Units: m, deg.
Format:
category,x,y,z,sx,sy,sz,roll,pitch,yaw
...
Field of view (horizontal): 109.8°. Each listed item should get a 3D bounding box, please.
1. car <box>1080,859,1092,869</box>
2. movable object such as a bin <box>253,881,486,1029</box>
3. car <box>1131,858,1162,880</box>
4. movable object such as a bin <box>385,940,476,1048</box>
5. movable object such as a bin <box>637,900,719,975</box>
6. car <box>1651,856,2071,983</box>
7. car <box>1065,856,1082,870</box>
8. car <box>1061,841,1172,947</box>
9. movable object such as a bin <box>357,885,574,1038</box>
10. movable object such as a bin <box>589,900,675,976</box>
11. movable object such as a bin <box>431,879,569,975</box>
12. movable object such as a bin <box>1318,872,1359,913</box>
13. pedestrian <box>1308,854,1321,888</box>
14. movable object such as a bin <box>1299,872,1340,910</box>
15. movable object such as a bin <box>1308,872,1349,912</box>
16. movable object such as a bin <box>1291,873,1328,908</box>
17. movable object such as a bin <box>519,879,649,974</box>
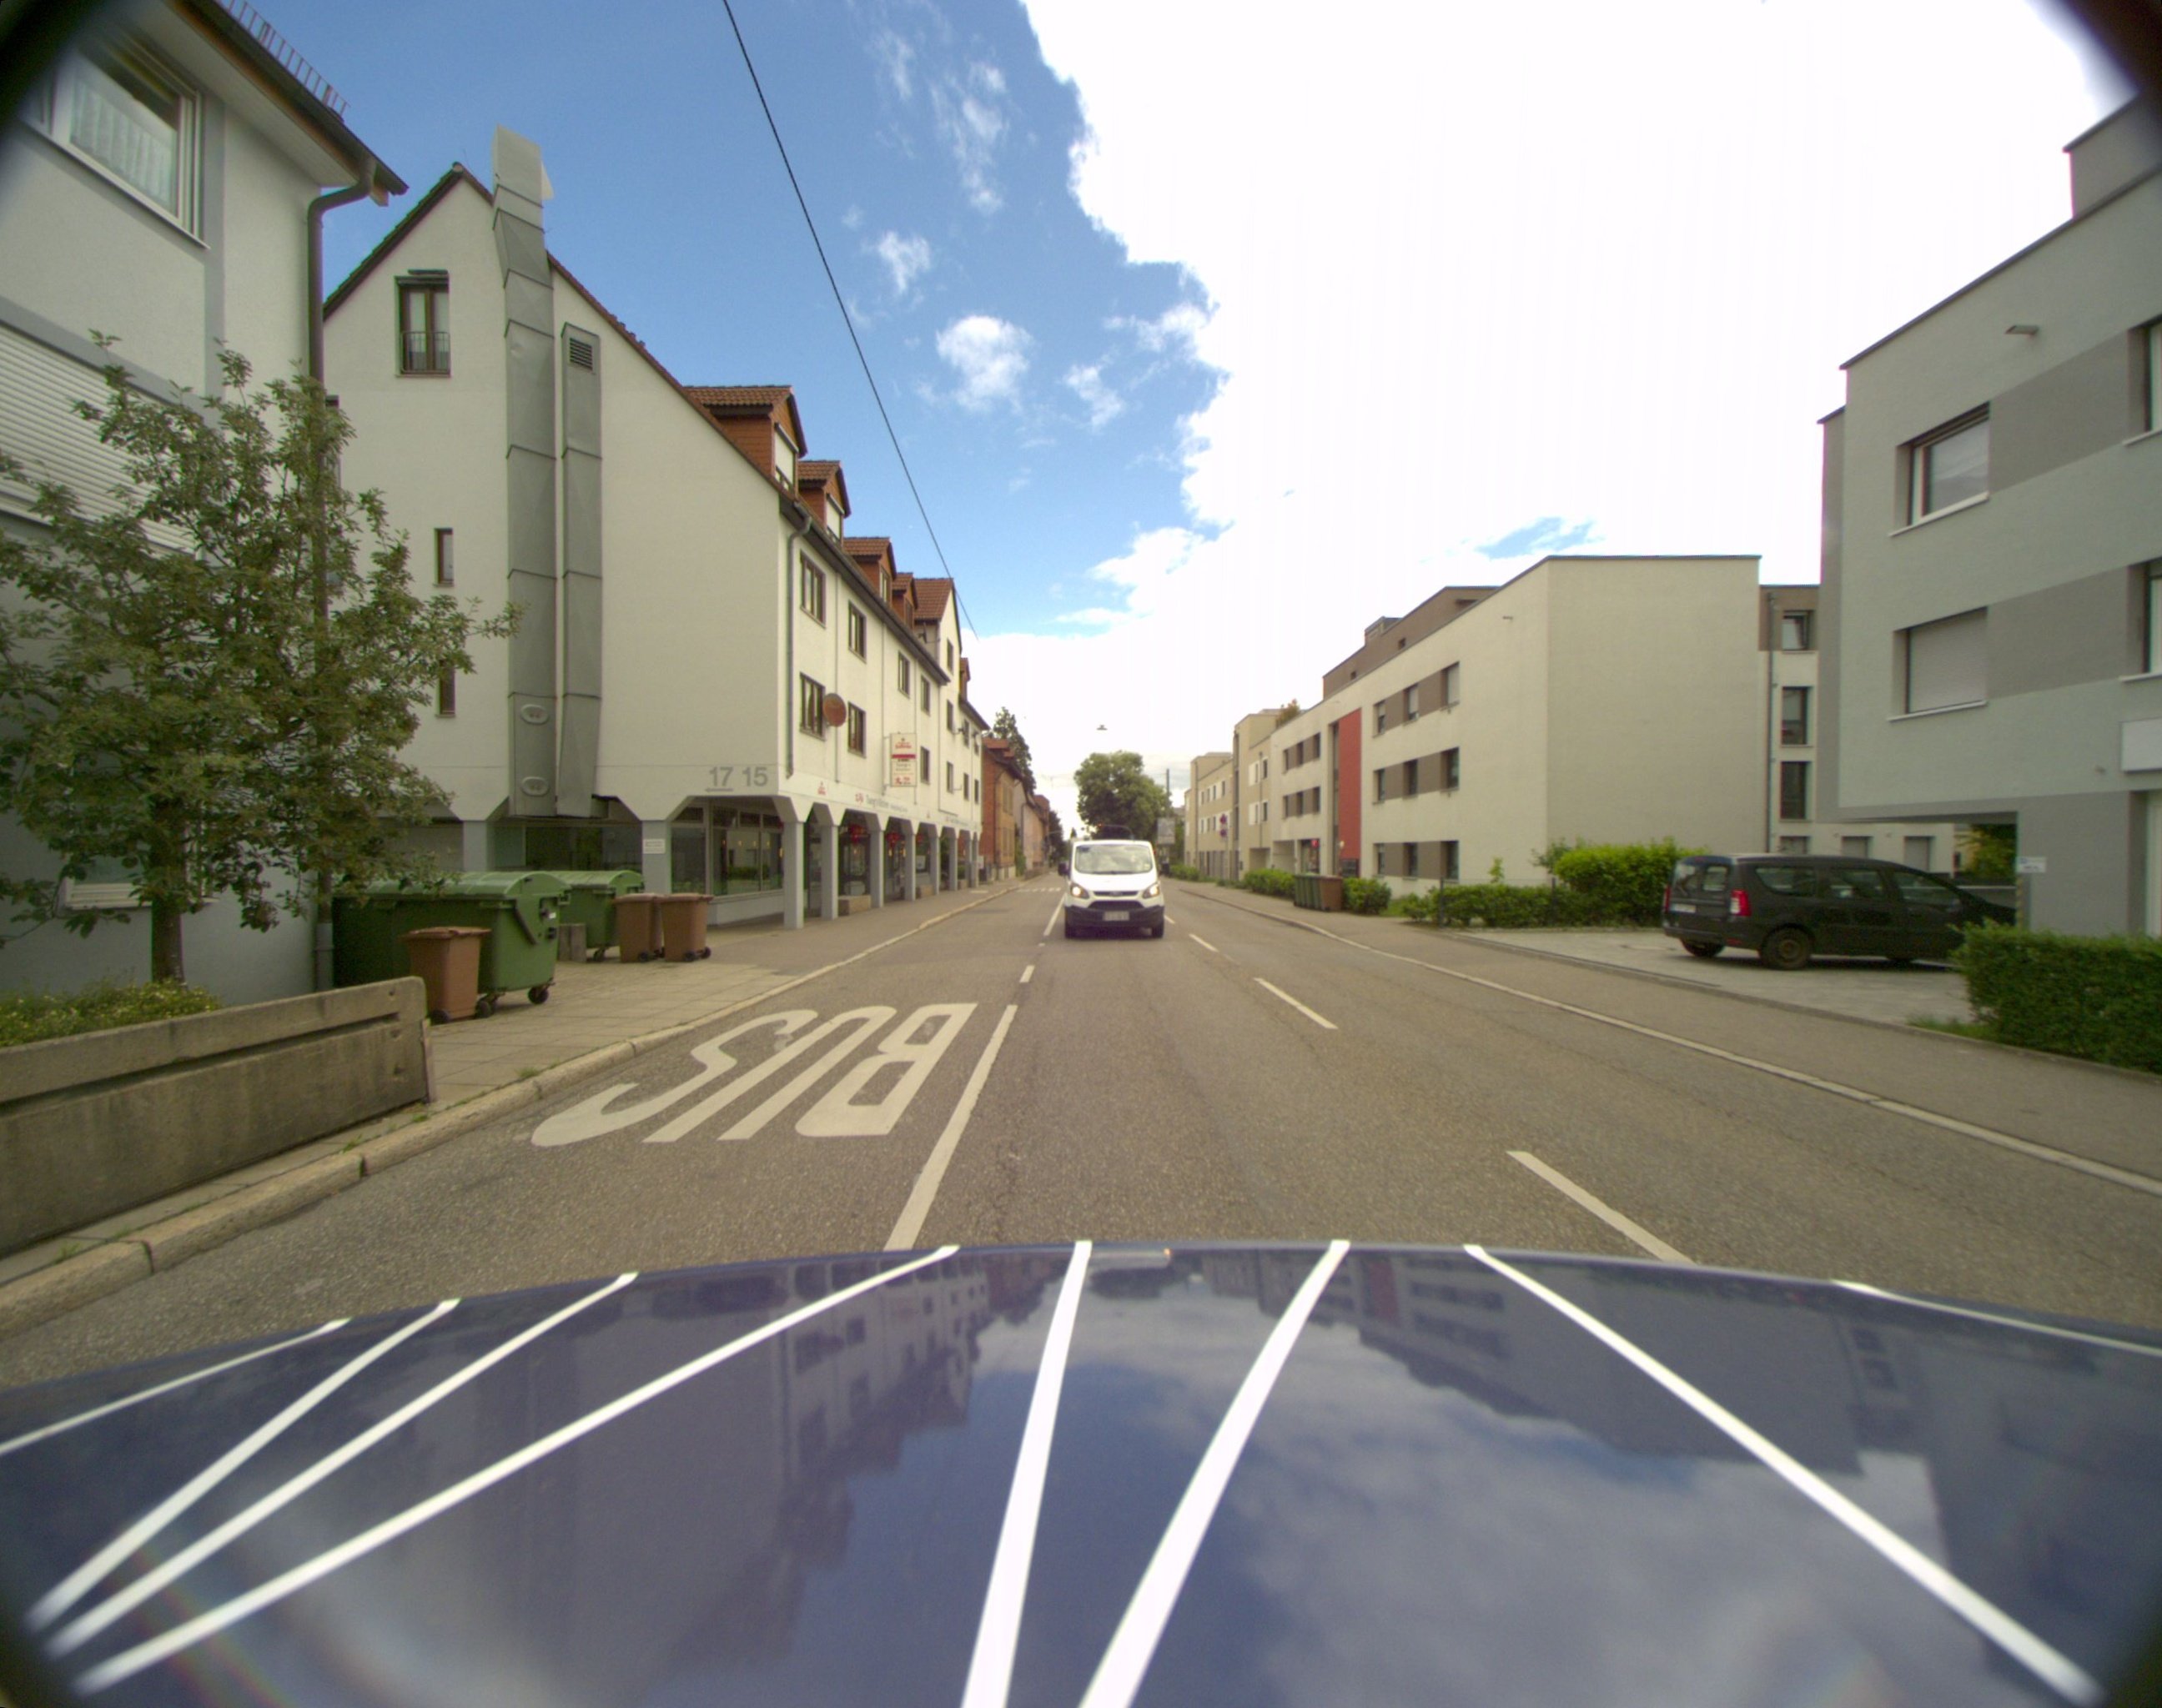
category,x,y,z,sx,sy,sz,roll,pitch,yaw
car,0.690,1.525,114.311,1.755,1.485,3.986,0,0,0
movable object such as a bin,-7.626,1.036,8.252,1.270,1.426,1.307,0,0,1
car,4.844,1.093,56.528,1.883,1.442,4.214,2,0,0
movable object such as a bin,-6.009,1.283,7.034,0.431,0.915,0.465,0,0,1
movable object such as a bin,-6.218,1.273,11.772,0.685,1.061,0.972,0,0,4
car,11.074,0.874,11.055,4.172,1.658,1.725,0,1,4
car,-0.784,0.962,81.499,1.755,1.485,3.986,0,0,0
car,0.643,0.741,16.628,2.062,1.945,5.060,0,0,0
movable object such as a bin,-6.272,1.053,7.848,1.270,1.409,1.162,0,0,1
movable object such as a bin,-6.949,1.285,11.804,0.699,1.073,0.972,0,0,4
movable object such as a bin,-9.267,1.133,12.188,1.212,1.409,1.260,0,0,4
movable object such as a bin,7.395,1.103,21.820,0.943,1.144,0.612,0,0,-4
pedestrian,11.335,0.819,36.834,0.519,1.633,0.641,0,1,25
movable object such as a bin,7.312,1.127,23.367,0.959,1.144,0.840,0,0,-4
movable object such as a bin,7.331,1.107,22.529,0.951,1.144,0.749,0,0,-4
movable object such as a bin,7.270,1.163,24.223,0.897,1.082,0.792,0,0,-4
movable object such as a bin,-7.901,1.121,12.159,1.212,1.409,1.260,0,0,4
